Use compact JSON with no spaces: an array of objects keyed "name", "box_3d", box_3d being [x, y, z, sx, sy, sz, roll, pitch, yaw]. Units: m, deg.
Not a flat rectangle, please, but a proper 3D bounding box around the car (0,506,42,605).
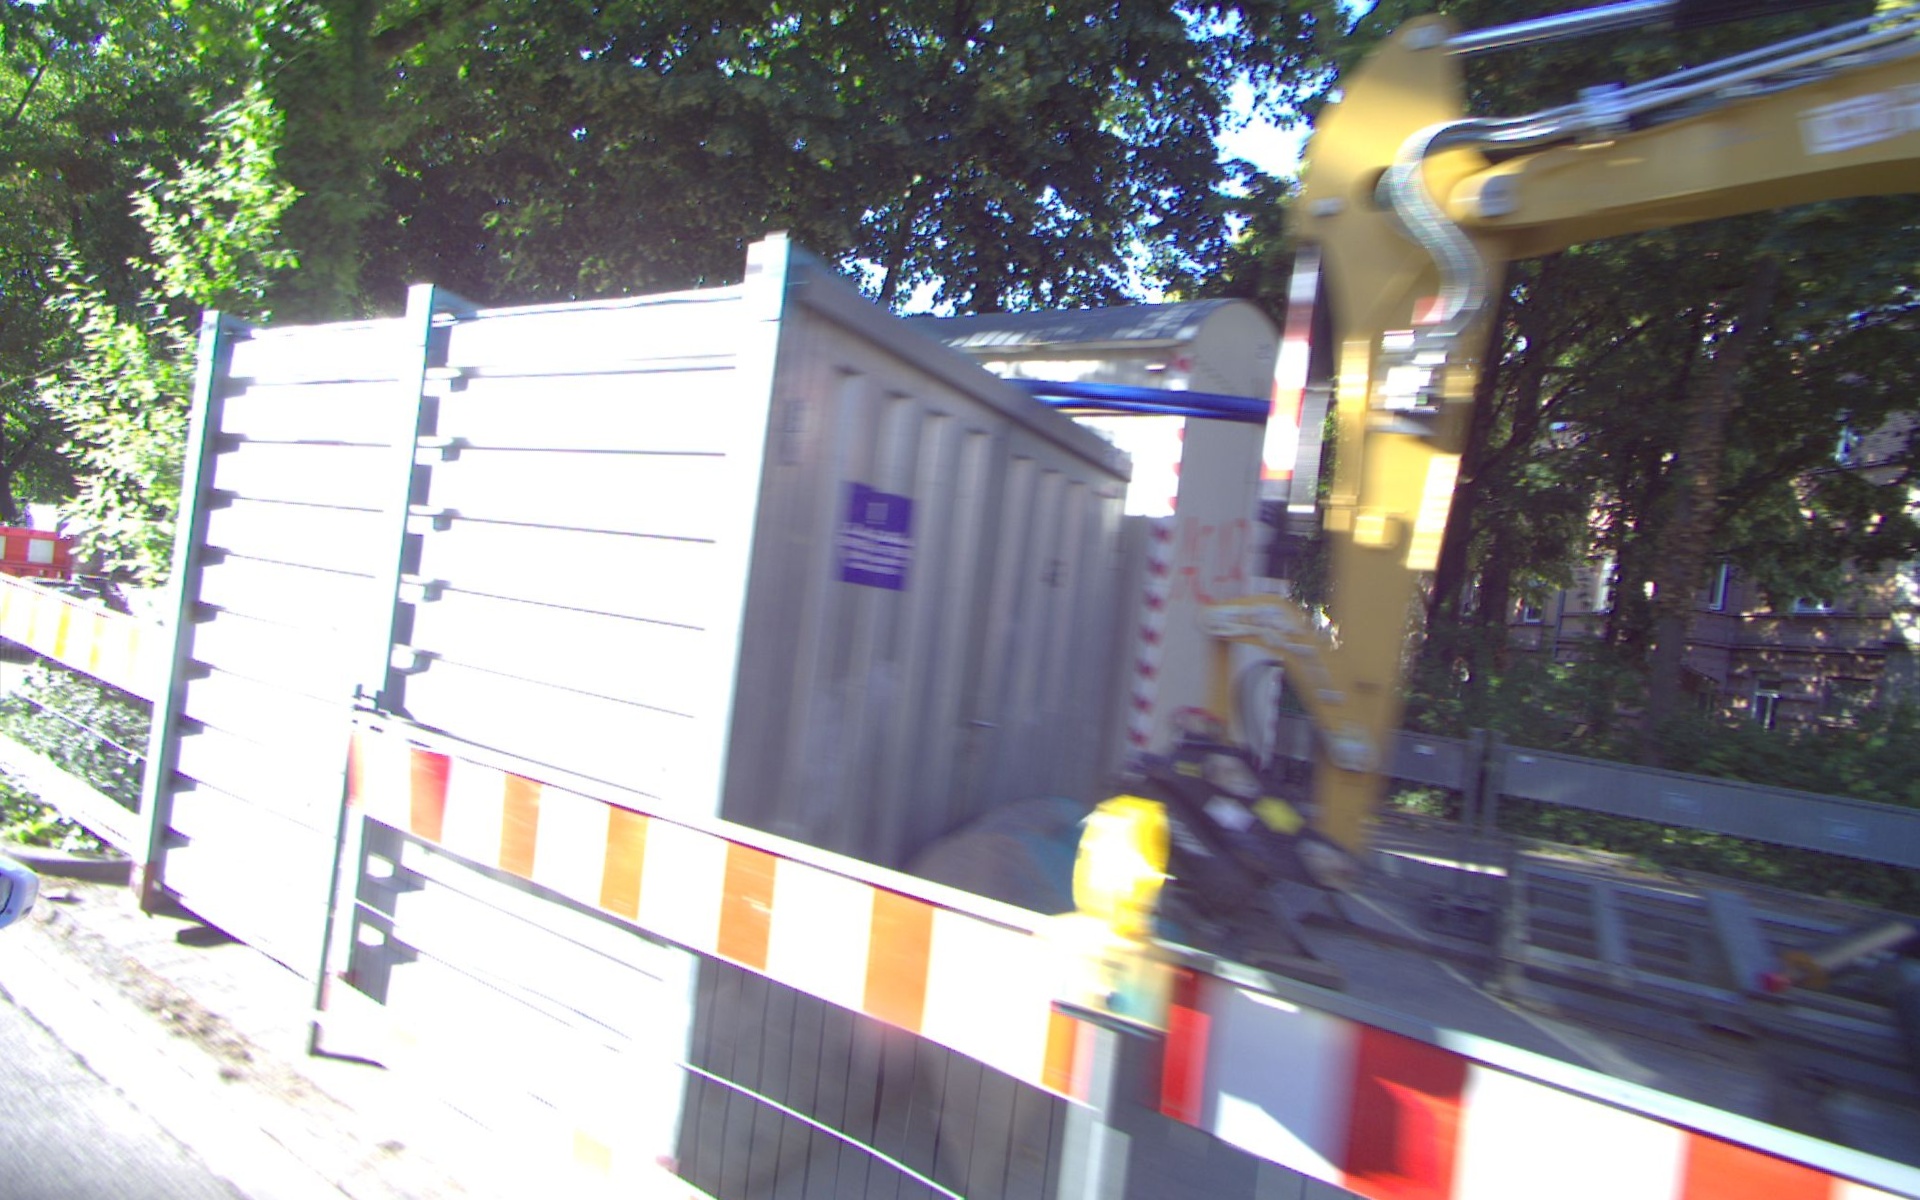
[{"name":"car","box_3d":[-17.936,-1.041,16.025,1.883,1.623,4.402,5,-4,27]}]
